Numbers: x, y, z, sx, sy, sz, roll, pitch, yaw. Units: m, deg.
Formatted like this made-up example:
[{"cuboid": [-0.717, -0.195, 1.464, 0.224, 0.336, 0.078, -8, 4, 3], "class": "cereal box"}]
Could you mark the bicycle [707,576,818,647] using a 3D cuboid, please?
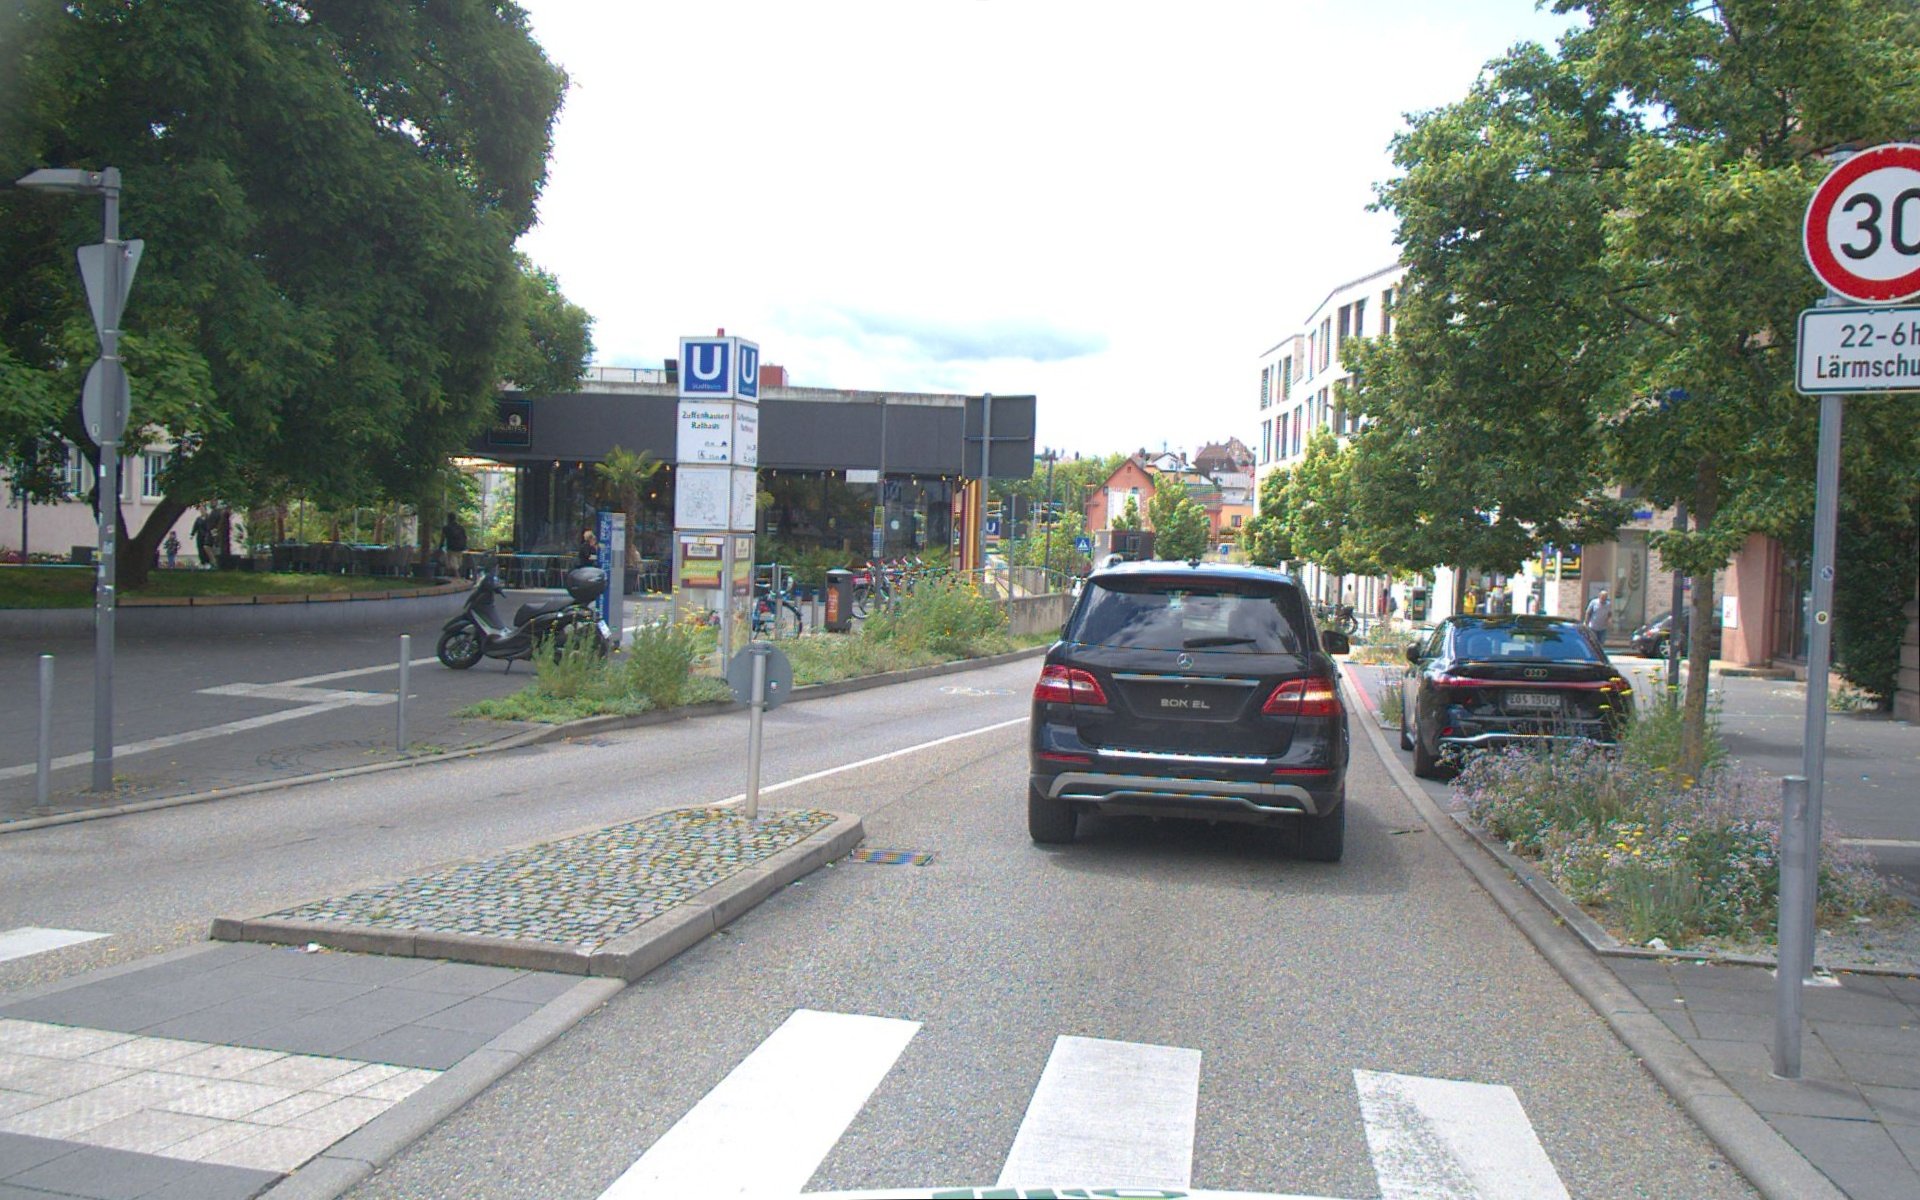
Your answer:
[{"cuboid": [-2.987, 0.164, 25.012, 1.578, 1.014, 0.500, 2, 0, 18], "class": "bicycle"}]

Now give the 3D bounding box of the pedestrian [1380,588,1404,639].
[{"cuboid": [14.678, 0.452, 56.240, 0.649, 1.712, 0.568, 2, 0, 2], "class": "pedestrian"}]

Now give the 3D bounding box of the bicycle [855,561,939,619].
[{"cuboid": [-1.226, -0.196, 32.491, 1.534, 1.087, 0.539, 2, 0, 12], "class": "bicycle"}]

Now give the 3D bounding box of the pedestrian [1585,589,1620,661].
[{"cuboid": [15.064, 0.571, 38.807, 0.618, 1.655, 0.700, 2, 0, 12], "class": "pedestrian"}]

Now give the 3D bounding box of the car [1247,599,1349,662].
[{"cuboid": [8.243, 0.691, 40.119, 1.577, 1.407, 3.834, 1, 1, 25], "class": "car"}]

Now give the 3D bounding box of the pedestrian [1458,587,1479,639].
[{"cuboid": [17.378, 0.441, 56.521, 0.547, 1.721, 0.639, 2, 0, 8], "class": "pedestrian"}]

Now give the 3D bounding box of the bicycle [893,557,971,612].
[{"cuboid": [-0.595, -0.336, 35.086, 1.534, 1.110, 0.578, 2, 0, 12], "class": "bicycle"}]

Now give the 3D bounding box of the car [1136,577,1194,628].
[{"cuboid": [7.376, 0.053, 59.279, 1.802, 1.635, 4.004, 4, 1, 9], "class": "car"}]

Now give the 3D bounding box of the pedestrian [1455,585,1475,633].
[{"cuboid": [17.939, 0.315, 58.712, 0.547, 1.712, 0.569, 2, 0, 8], "class": "pedestrian"}]

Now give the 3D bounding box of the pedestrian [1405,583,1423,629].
[{"cuboid": [17.021, 0.216, 61.982, 0.547, 1.712, 0.569, 2, 0, 8], "class": "pedestrian"}]

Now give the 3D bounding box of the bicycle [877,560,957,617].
[{"cuboid": [-0.893, -0.238, 34.196, 1.534, 1.110, 0.578, 2, 0, 12], "class": "bicycle"}]

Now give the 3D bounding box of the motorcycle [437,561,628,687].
[{"cuboid": [-4.965, 0.262, 19.220, 2.087, 1.311, 0.584, 3, 3, 14], "class": "motorcycle"}]

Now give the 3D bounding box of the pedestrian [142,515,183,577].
[{"cuboid": [-21.075, -1.430, 43.719, 0.621, 1.604, 0.789, 1, 0, 12], "class": "pedestrian"}]

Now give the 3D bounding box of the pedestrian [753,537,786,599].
[{"cuboid": [-4.691, -0.783, 40.756, 0.569, 1.489, 0.616, 1, 0, 20], "class": "pedestrian"}]

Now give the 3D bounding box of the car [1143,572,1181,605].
[{"cuboid": [10.470, -0.596, 85.872, 1.802, 1.550, 4.003, 4, 1, 6], "class": "car"}]

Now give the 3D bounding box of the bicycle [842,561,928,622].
[{"cuboid": [-1.438, -0.165, 31.748, 1.534, 1.110, 0.578, 2, 0, 12], "class": "bicycle"}]

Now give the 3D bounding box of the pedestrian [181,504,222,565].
[{"cuboid": [-20.380, -1.747, 44.443, 0.769, 1.604, 0.637, 1, 0, 10], "class": "pedestrian"}]

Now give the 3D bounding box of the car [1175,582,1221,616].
[{"cuboid": [10.272, -0.063, 71.526, 1.575, 1.407, 3.838, 1, 1, 3], "class": "car"}]

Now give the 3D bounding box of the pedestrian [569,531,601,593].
[{"cuboid": [-8.615, -0.863, 38.030, 0.569, 1.403, 0.616, 1, 0, -1], "class": "pedestrian"}]

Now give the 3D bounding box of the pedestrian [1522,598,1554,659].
[{"cuboid": [15.542, 0.761, 44.476, 0.696, 1.590, 0.569, 2, 0, 8], "class": "pedestrian"}]

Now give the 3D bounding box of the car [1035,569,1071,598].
[{"cuboid": [5.925, -1.074, 105.439, 1.804, 1.635, 3.999, 4, 1, -3], "class": "car"}]

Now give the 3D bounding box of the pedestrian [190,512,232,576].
[{"cuboid": [-19.679, -1.473, 43.468, 0.769, 1.656, 0.637, 1, 0, 10], "class": "pedestrian"}]

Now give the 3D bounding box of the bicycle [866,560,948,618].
[{"cuboid": [-1.067, -0.228, 33.329, 1.534, 1.110, 0.578, 2, 0, 12], "class": "bicycle"}]

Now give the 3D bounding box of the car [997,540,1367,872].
[{"cuboid": [1.626, 0.557, 11.201, 1.984, 1.757, 4.437, 1, 0, 11], "class": "car"}]

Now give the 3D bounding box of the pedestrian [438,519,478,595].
[{"cuboid": [-10.780, -0.923, 35.524, 0.601, 1.604, 0.583, 1, 0, 7], "class": "pedestrian"}]

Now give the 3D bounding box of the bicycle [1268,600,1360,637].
[{"cuboid": [11.945, 0.631, 55.886, 2.994, 1.166, 0.710, 1, 0, 7], "class": "bicycle"}]

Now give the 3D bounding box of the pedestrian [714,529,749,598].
[{"cuboid": [-5.538, -0.893, 40.055, 0.578, 1.646, 0.606, 1, 1, -43], "class": "pedestrian"}]

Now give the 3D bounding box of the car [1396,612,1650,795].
[{"cuboid": [5.185, 0.855, 15.758, 1.817, 1.430, 4.378, 1, 0, 13], "class": "car"}]

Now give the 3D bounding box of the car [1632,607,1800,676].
[{"cuboid": [21.393, 1.159, 46.950, 3.903, 1.593, 1.848, 4, 1, 10], "class": "car"}]

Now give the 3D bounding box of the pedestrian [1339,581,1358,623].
[{"cuboid": [15.947, 0.090, 67.953, 0.548, 1.712, 0.567, 2, 0, -10], "class": "pedestrian"}]

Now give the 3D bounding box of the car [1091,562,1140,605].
[{"cuboid": [7.383, -0.815, 78.767, 1.803, 1.890, 4.498, 4, 1, 0], "class": "car"}]
